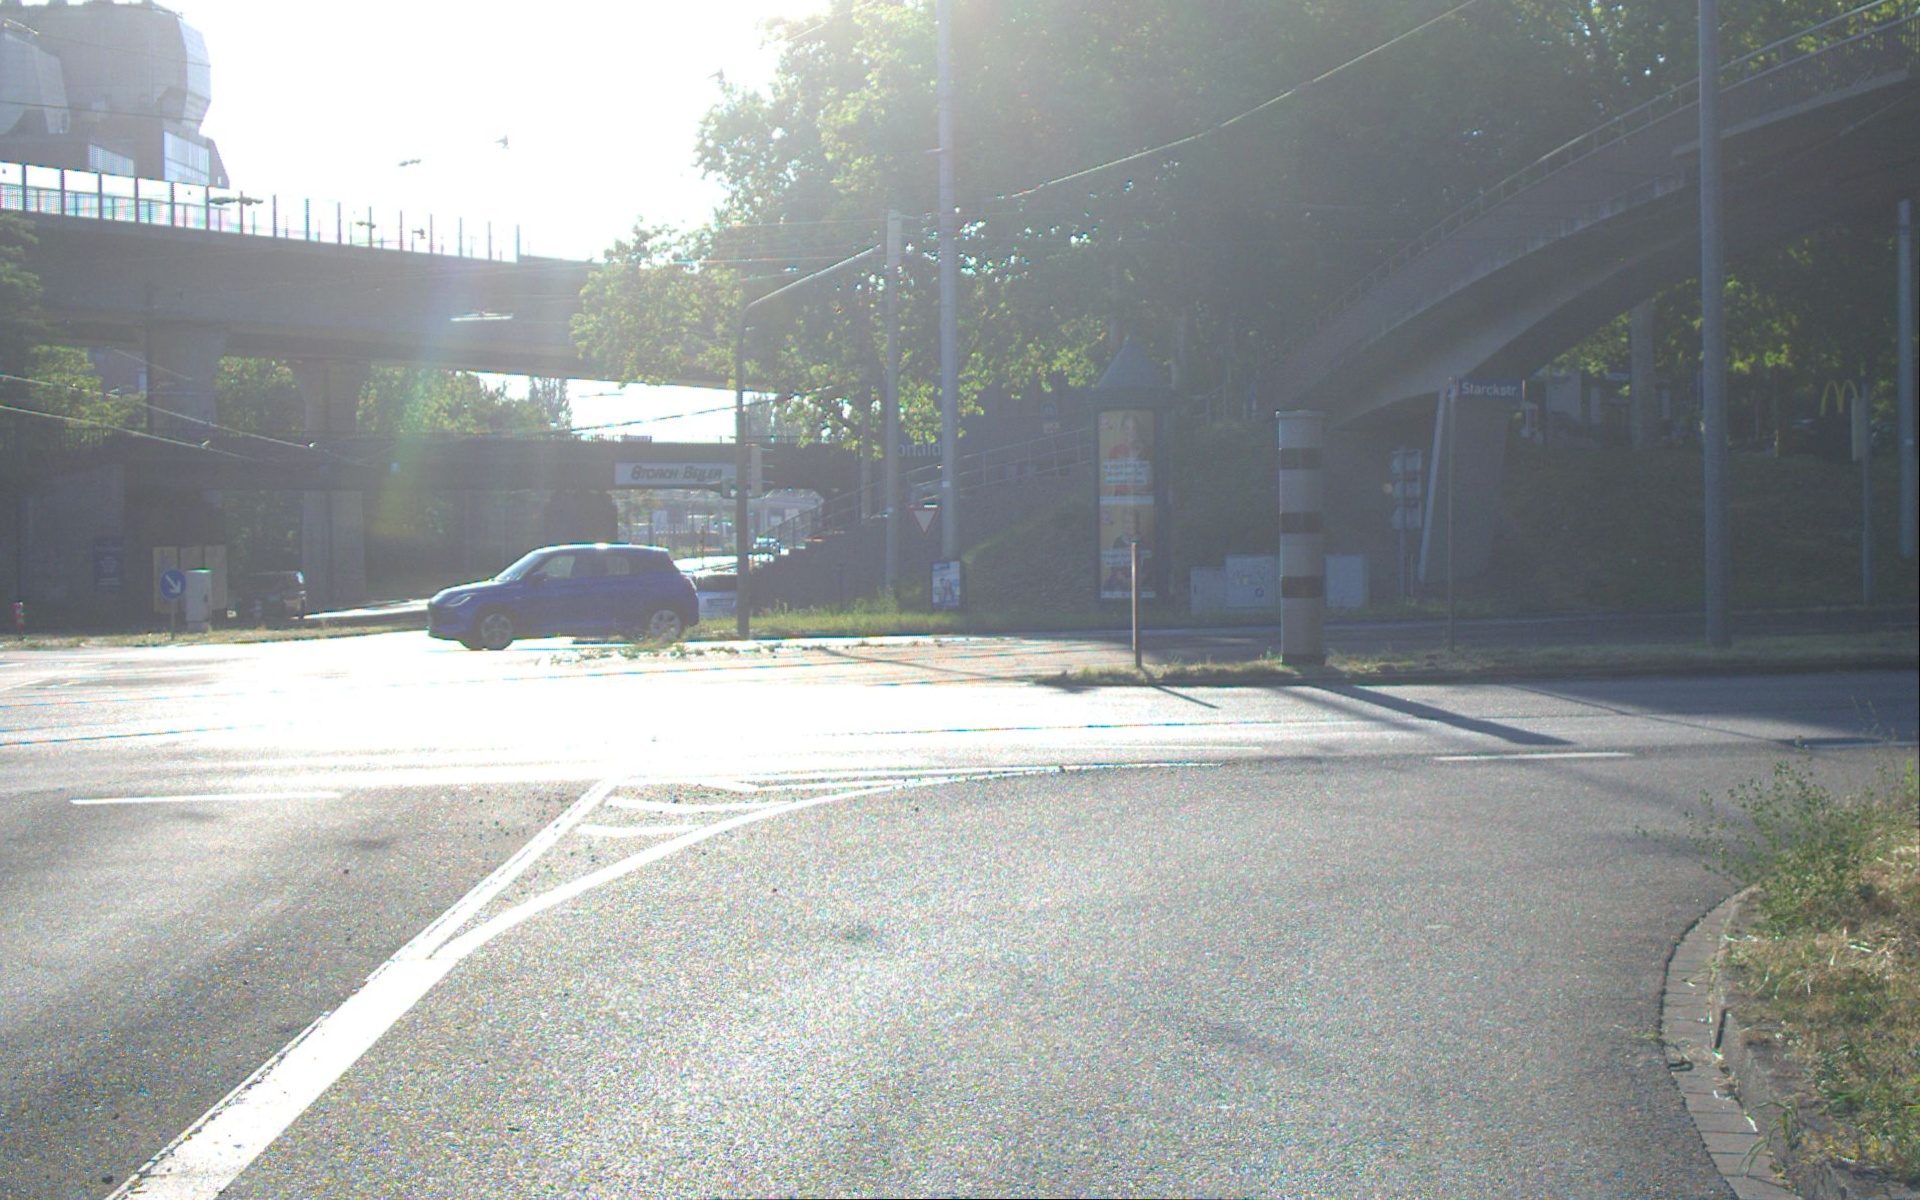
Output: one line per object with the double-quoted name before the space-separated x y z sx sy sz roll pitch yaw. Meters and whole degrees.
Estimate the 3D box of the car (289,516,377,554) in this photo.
"car" -30.176 -3.132 165.459 1.997 1.765 3.993 1 1 32

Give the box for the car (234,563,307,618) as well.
"car" -20.898 -0.306 104.304 1.711 1.647 4.096 0 1 -4

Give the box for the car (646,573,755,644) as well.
"car" -6.353 0.181 83.749 1.710 1.647 4.220 0 1 -18

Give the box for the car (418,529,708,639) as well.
"car" -5.774 -0.245 49.833 3.921 1.553 2.001 0 1 -16
